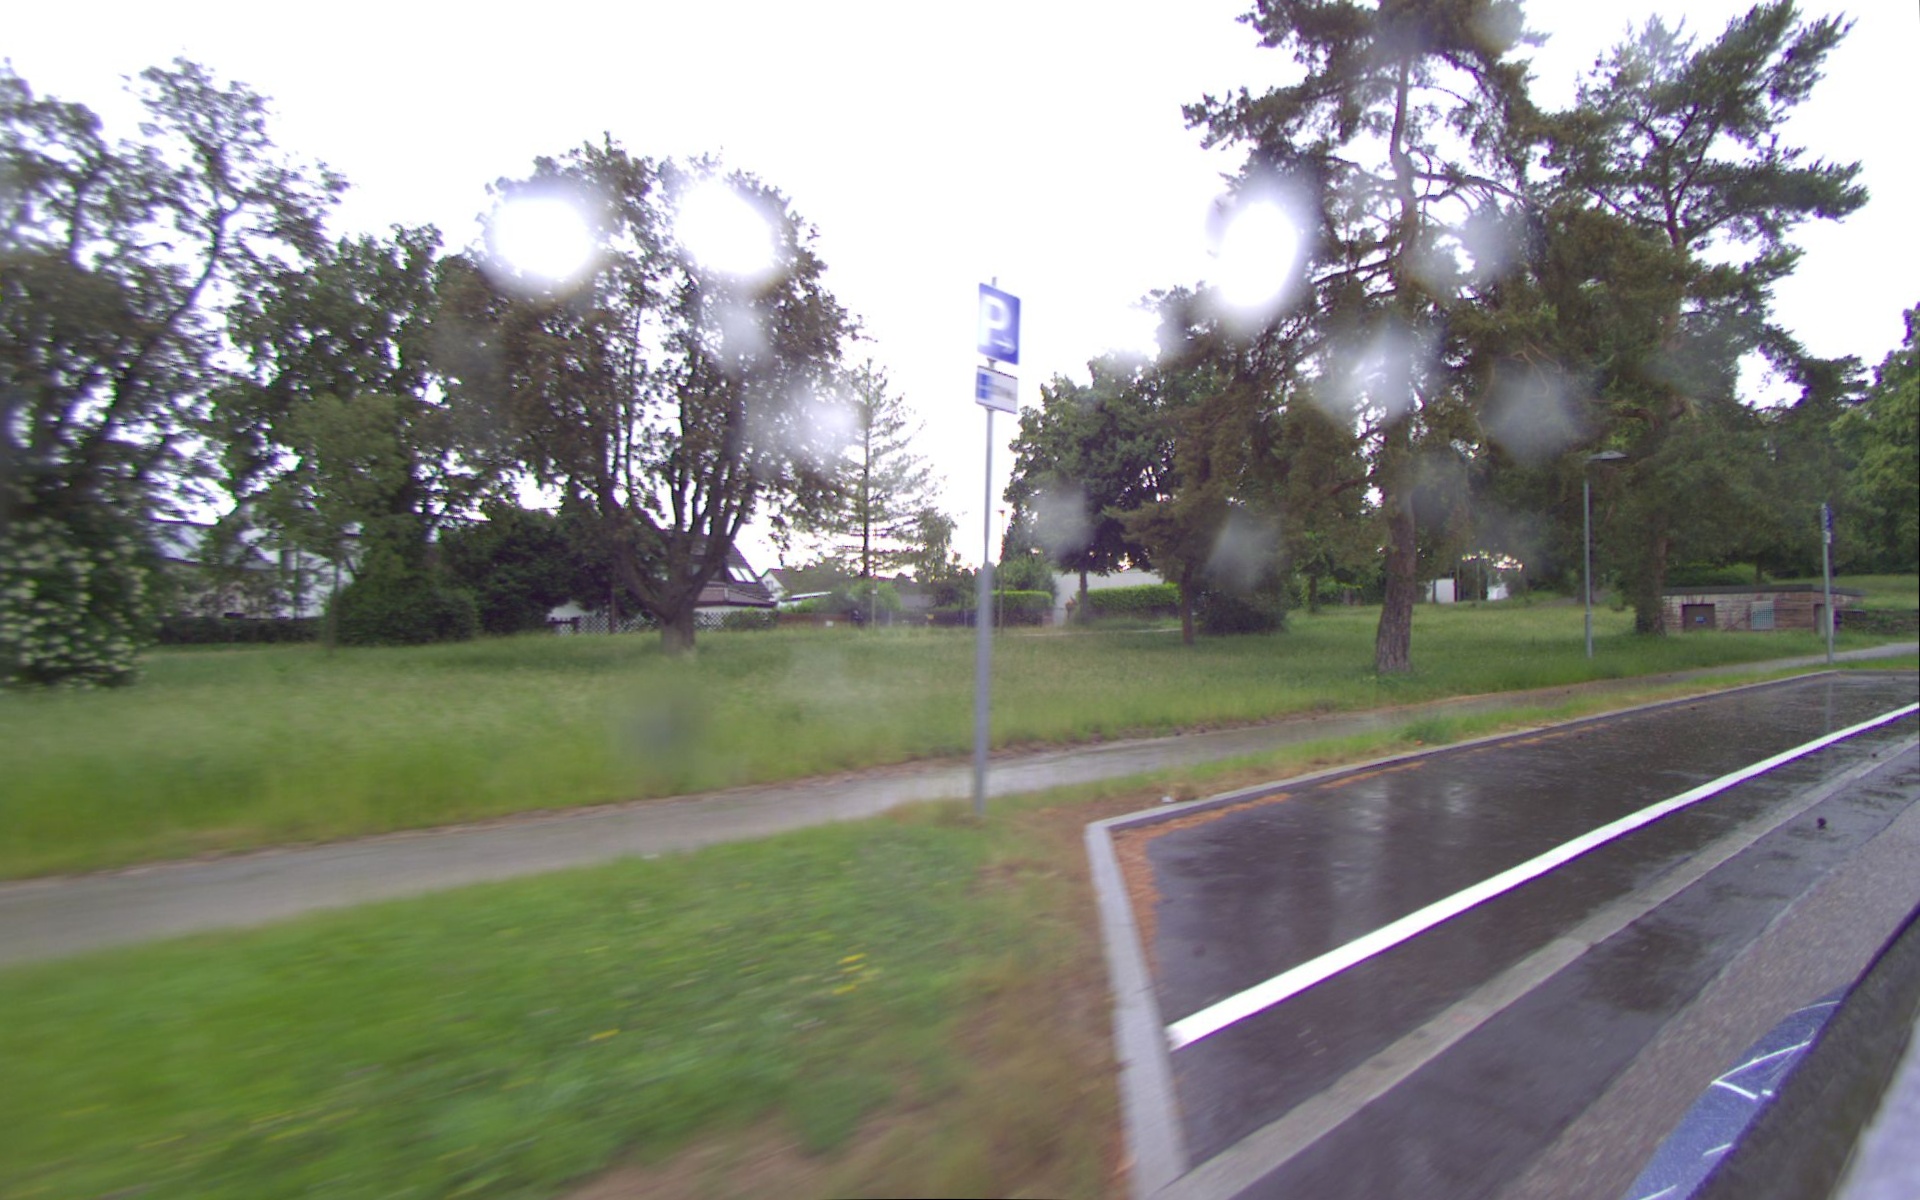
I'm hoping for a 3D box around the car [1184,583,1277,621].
[{"bbox_3d":[12.651,0.094,47.280,3.917,1.673,1.835,-1,0,-25],"label":"car"}]

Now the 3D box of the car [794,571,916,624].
[{"bbox_3d":[-5.601,-0.145,53.266,6.660,2.530,2.573,1,-2,42],"label":"car"}]
